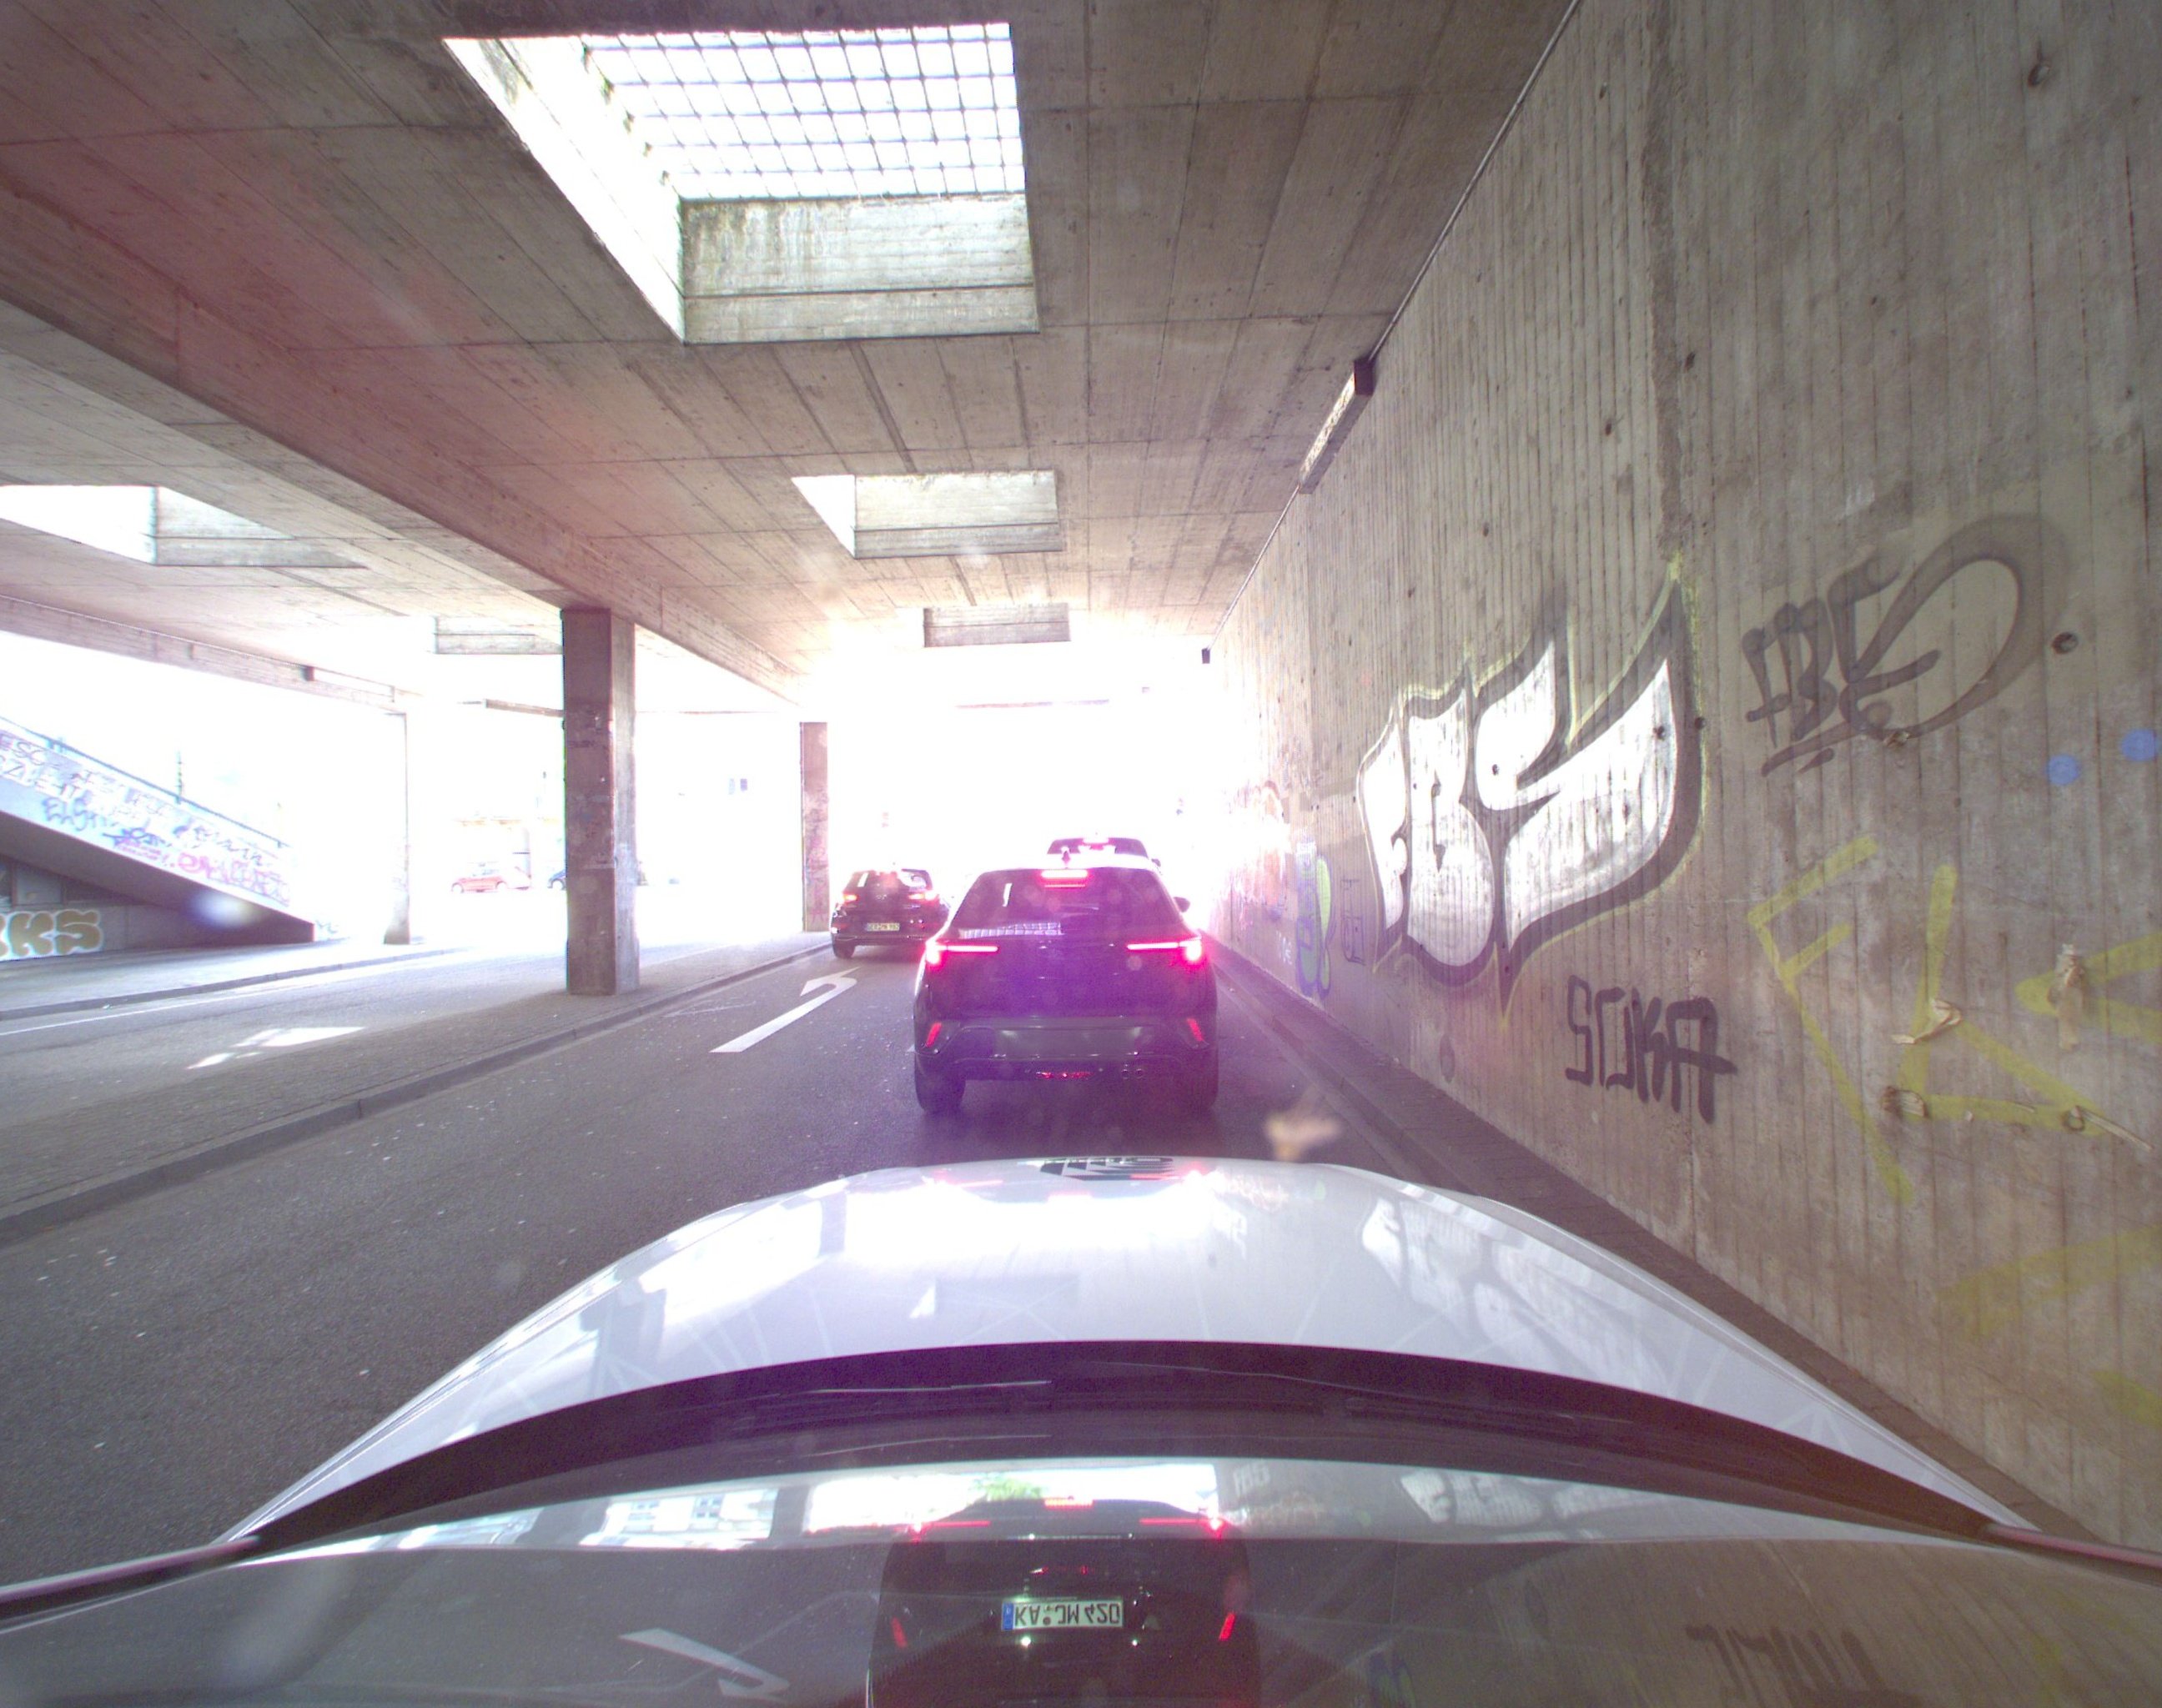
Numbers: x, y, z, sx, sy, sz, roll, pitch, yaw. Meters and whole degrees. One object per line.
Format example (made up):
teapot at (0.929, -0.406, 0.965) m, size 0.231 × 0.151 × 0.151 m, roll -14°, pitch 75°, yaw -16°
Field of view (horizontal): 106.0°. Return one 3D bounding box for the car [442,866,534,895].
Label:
car at (-32.921, 1.470, 45.268) m, size 3.748 × 1.475 × 1.749 m, roll -1°, pitch -1°, yaw 0°

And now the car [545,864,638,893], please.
car at (-27.165, 1.342, 45.290) m, size 4.096 × 1.475 × 1.737 m, roll -1°, pitch -1°, yaw 0°

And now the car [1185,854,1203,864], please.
car at (19.308, 0.931, 139.362) m, size 1.801 × 1.667 × 4.842 m, roll -1°, pitch -1°, yaw 24°

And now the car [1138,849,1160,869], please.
car at (5.763, 0.416, 68.354) m, size 1.745 × 1.667 × 3.950 m, roll 0°, pitch -1°, yaw 6°

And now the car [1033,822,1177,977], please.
car at (0.363, 0.564, 12.162) m, size 1.755 × 1.883 × 4.148 m, roll -1°, pitch 0°, yaw 2°

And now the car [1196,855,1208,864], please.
car at (22.397, 0.953, 150.515) m, size 1.742 × 1.667 × 3.958 m, roll -1°, pitch -1°, yaw 13°

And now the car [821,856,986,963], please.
car at (-2.743, 0.799, 13.482) m, size 1.755 × 1.480 × 3.846 m, roll -1°, pitch 0°, yaw 2°

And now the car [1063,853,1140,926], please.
car at (0.499, 0.759, 19.381) m, size 1.603 × 1.513 × 4.055 m, roll -1°, pitch 0°, yaw 2°

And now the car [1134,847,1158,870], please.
car at (4.976, 0.373, 62.250) m, size 1.745 × 1.667 × 3.950 m, roll 0°, pitch -1°, yaw 6°

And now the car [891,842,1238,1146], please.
car at (-0.022, 0.724, 6.223) m, size 1.755 × 1.531 × 4.091 m, roll -1°, pitch 0°, yaw 2°

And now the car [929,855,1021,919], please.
car at (-2.653, 0.796, 21.210) m, size 1.755 × 1.480 × 3.846 m, roll -1°, pitch 0°, yaw 2°
